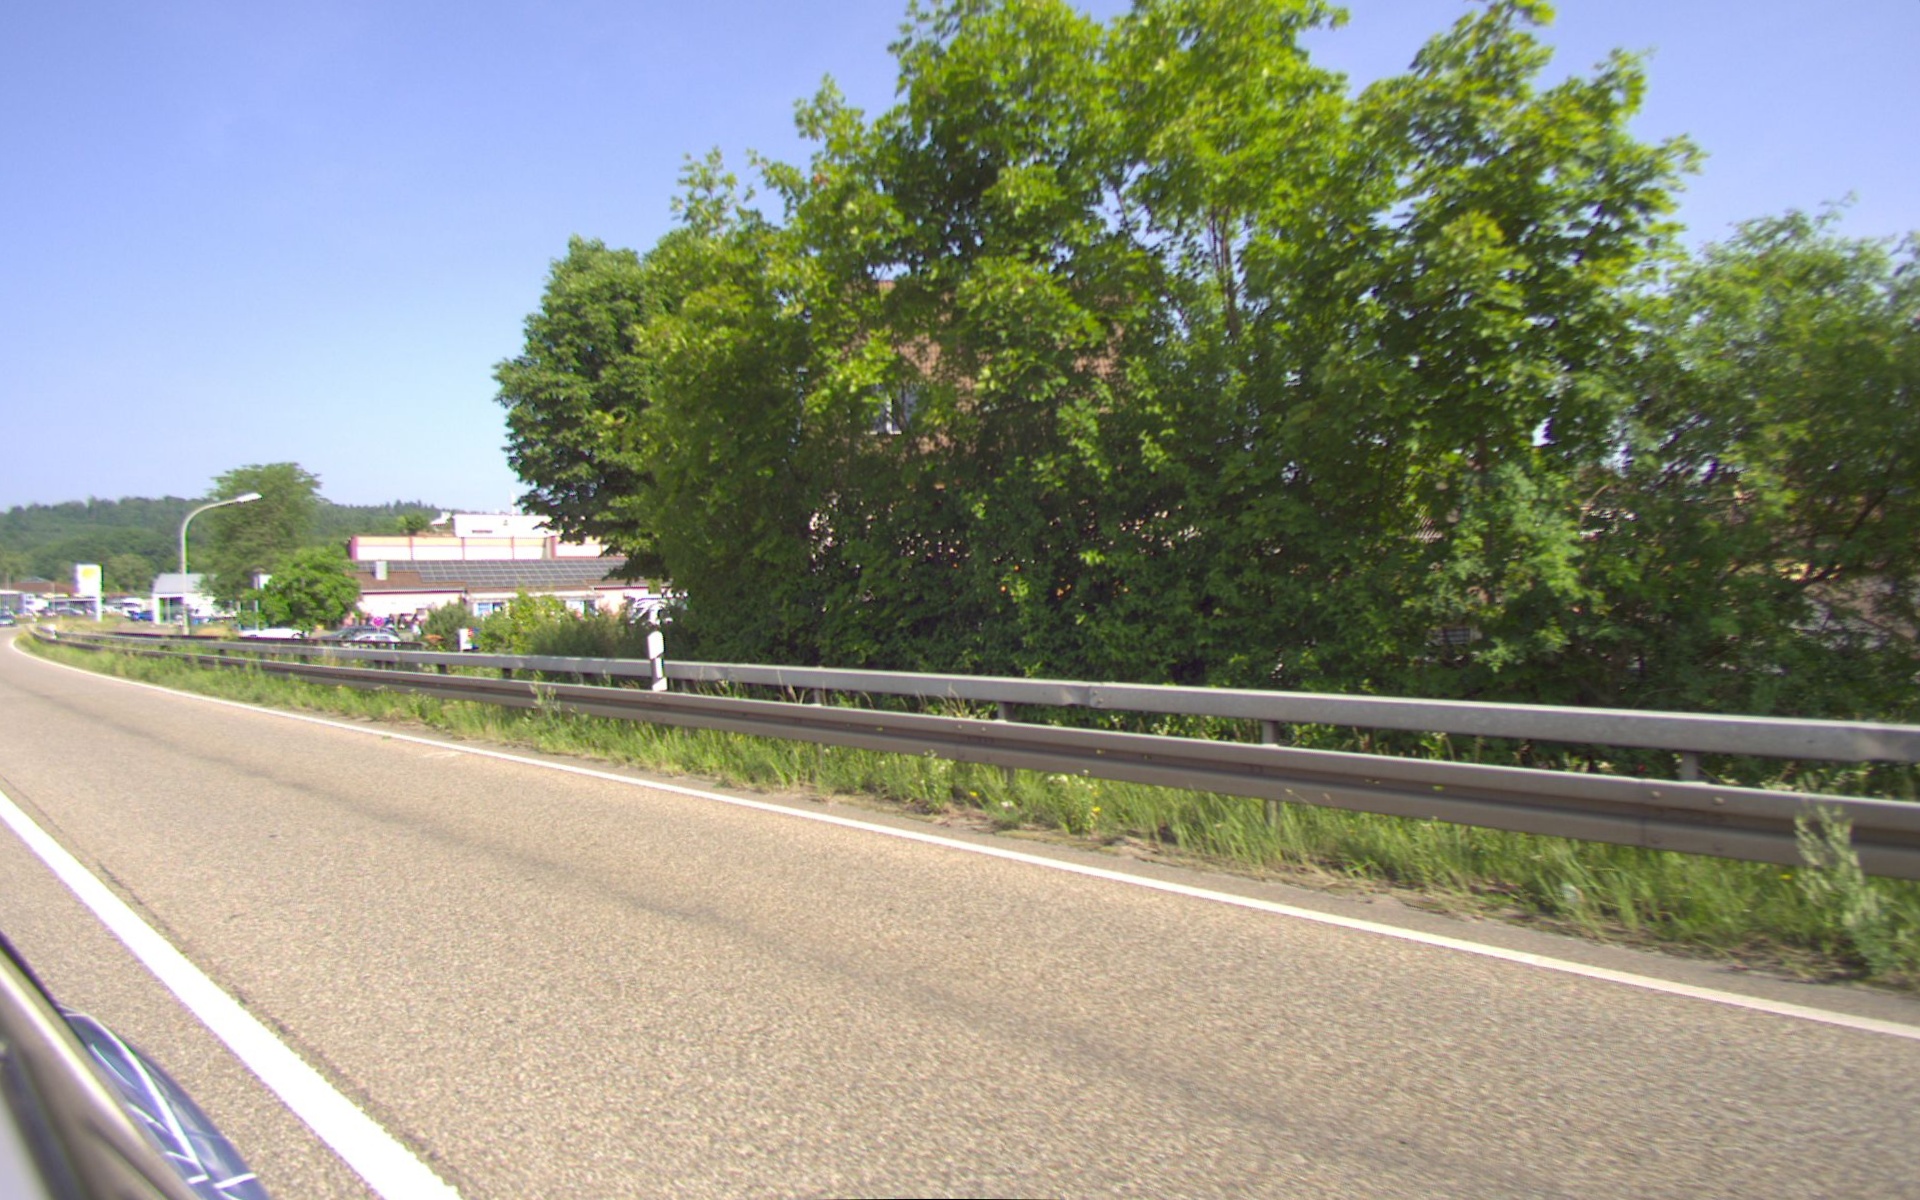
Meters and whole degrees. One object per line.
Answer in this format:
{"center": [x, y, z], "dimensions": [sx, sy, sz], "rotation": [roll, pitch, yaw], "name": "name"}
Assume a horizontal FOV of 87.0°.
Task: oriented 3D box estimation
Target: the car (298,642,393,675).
{"center": [-34.508, 3.252, 56.885], "dimensions": [1.874, 1.678, 4.251], "rotation": [-1, -1, 44], "name": "car"}

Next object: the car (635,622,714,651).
{"center": [-18.224, 2.316, 64.696], "dimensions": [4.498, 1.645, 1.866], "rotation": [-1, 0, -36], "name": "car"}

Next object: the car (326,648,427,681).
{"center": [-30.095, 3.307, 52.251], "dimensions": [4.248, 1.516, 1.876], "rotation": [1, -1, -43], "name": "car"}

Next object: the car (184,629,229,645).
{"center": [-79.131, 3.841, 106.286], "dimensions": [3.700, 1.511, 1.935], "rotation": [-1, 0, -40], "name": "car"}

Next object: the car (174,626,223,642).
{"center": [-86.587, 3.866, 115.112], "dimensions": [4.297, 1.667, 1.934], "rotation": [-1, 0, -42], "name": "car"}

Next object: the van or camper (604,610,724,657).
{"center": [-20.155, 2.241, 69.052], "dimensions": [7.297, 2.864, 2.754], "rotation": [-1, 0, -36], "name": "van or camper"}

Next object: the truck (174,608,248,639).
{"center": [-92.834, 2.828, 125.666], "dimensions": [2.770, 3.583, 8.202], "rotation": [-1, 0, 4], "name": "truck"}

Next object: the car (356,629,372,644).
{"center": [-48.928, 2.971, 83.070], "dimensions": [0.804, 1.154, 2.020], "rotation": [0, 0, -40], "name": "car"}

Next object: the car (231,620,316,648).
{"center": [-51.074, 2.494, 75.410], "dimensions": [4.823, 2.029, 2.005], "rotation": [0, -1, -14], "name": "car"}

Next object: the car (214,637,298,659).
{"center": [-48.946, 3.300, 70.451], "dimensions": [1.743, 1.392, 4.565], "rotation": [-2, -1, 43], "name": "car"}

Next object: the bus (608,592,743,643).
{"center": [-20.545, 1.248, 73.527], "dimensions": [8.979, 3.380, 2.671], "rotation": [-1, -2, -36], "name": "bus"}
